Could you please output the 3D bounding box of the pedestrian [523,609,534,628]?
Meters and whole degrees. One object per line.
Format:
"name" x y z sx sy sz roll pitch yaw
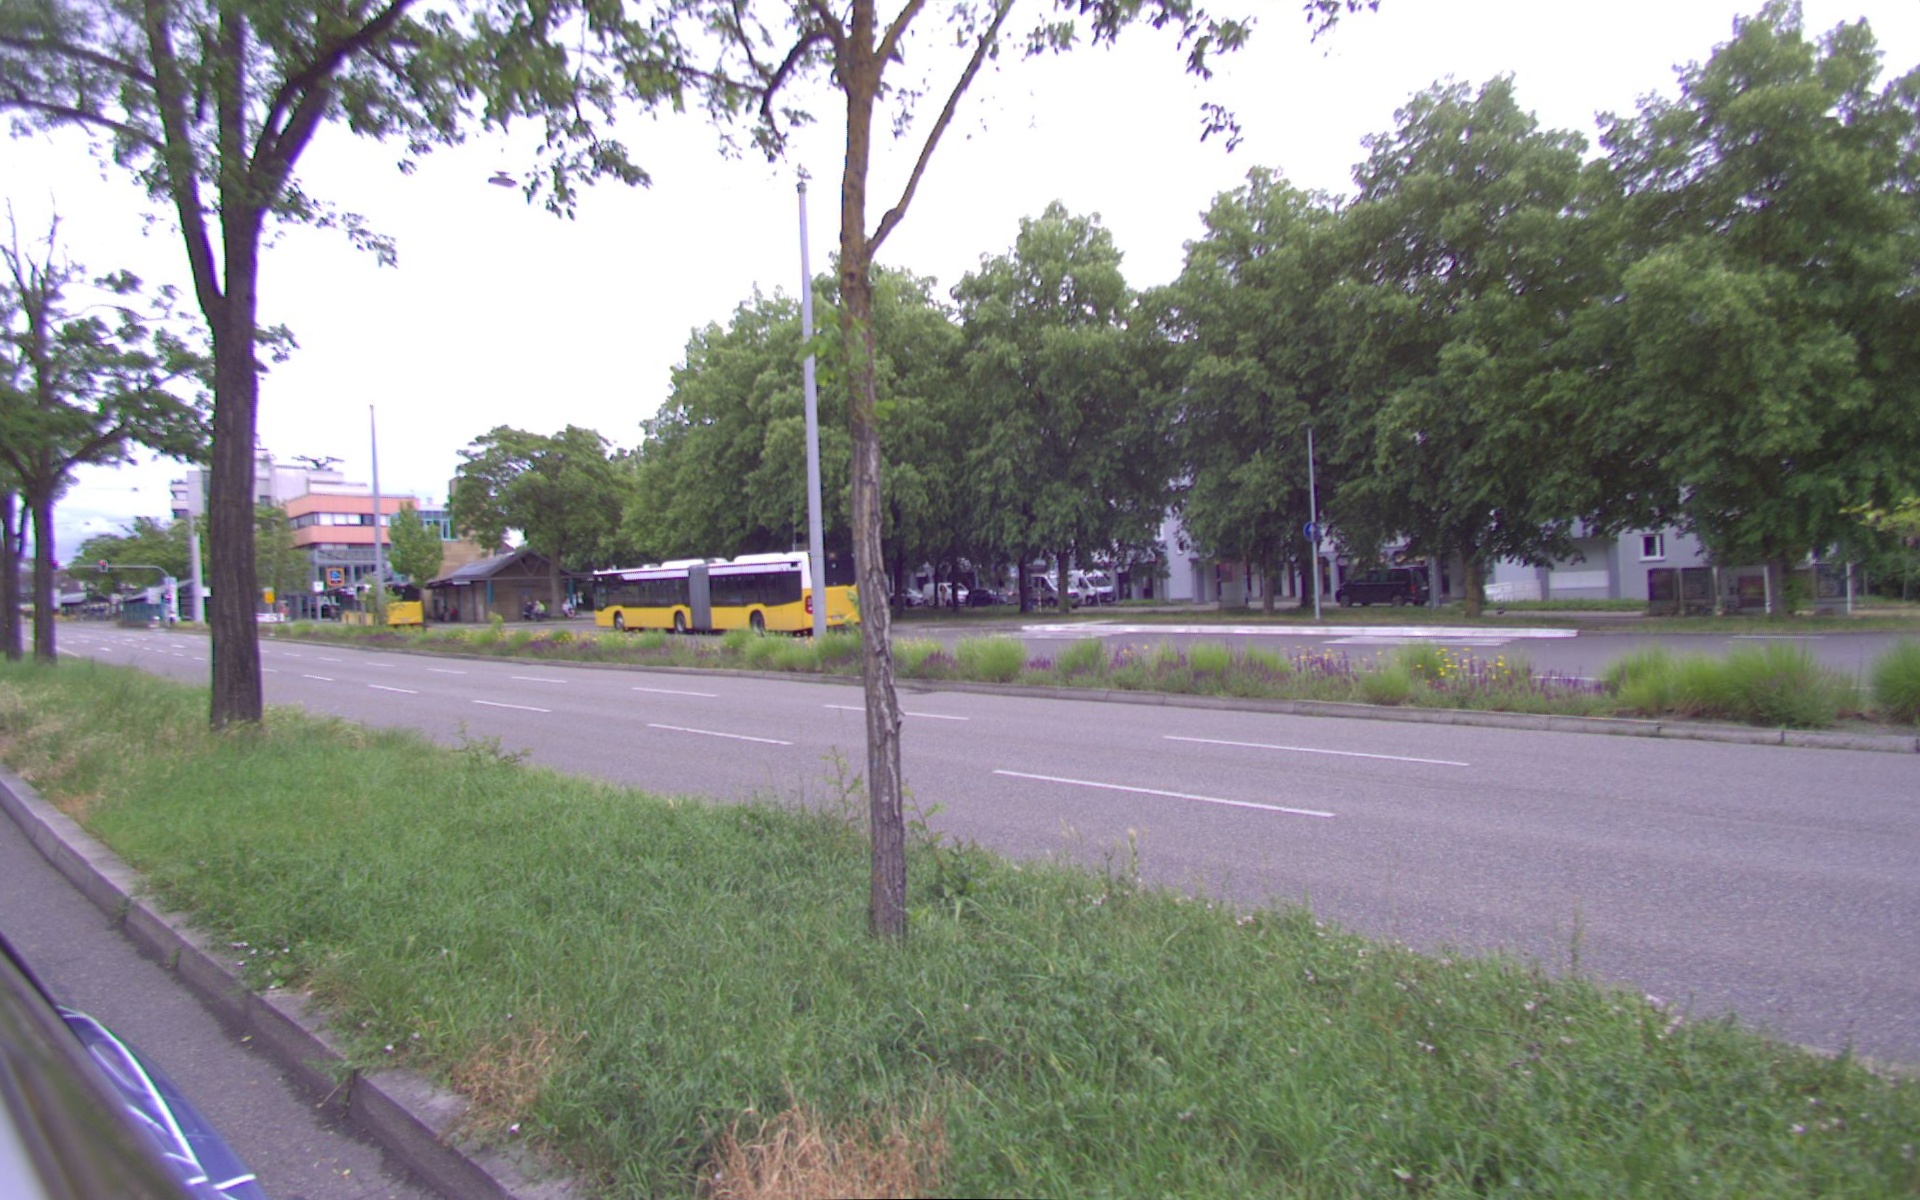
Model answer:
"pedestrian" -27.580 1.161 64.742 0.589 1.171 0.745 -1 0 -25

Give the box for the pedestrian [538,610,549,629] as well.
"pedestrian" -26.075 1.220 63.338 0.589 1.171 0.745 -1 0 -22

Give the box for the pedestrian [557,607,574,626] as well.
"pedestrian" -24.829 1.018 63.729 0.925 1.180 0.641 -1 0 42

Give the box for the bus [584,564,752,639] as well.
"bus" -13.332 0.126 45.401 2.848 3.025 10.404 -2 0 -43

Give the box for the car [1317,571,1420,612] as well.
"car" 19.902 -0.375 49.442 1.758 1.861 4.430 -2 0 -34

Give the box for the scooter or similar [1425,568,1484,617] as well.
"scooter or similar" 17.802 -0.263 36.430 1.840 1.676 0.647 -2 0 30

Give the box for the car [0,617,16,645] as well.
"car" -72.716 2.342 76.547 4.002 2.029 1.703 -2 0 45

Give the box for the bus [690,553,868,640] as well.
"bus" -7.094 -0.075 38.671 2.848 3.025 7.891 -2 0 -43

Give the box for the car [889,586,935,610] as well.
"car" -3.747 -0.135 78.577 1.663 1.763 4.010 -2 0 -34

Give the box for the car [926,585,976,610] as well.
"car" -0.688 -0.179 73.364 1.663 1.763 4.010 -2 0 -34

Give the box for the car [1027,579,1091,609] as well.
"car" 6.066 -0.347 62.365 1.663 1.763 4.010 -2 0 -34

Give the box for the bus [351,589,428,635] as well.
"bus" -38.504 0.818 68.091 2.846 2.830 9.190 -2 0 -40

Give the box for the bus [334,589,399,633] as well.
"bus" -44.099 0.849 75.038 2.845 3.025 9.193 -2 0 -38

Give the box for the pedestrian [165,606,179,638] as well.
"pedestrian" -70.689 1.957 90.782 0.889 2.809 1.150 -1 0 -35

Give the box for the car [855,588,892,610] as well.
"car" -7.164 -0.062 83.639 1.663 1.763 3.101 -2 0 -34

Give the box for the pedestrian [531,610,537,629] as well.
"pedestrian" -26.549 1.198 63.071 0.361 1.175 0.900 -1 0 -22

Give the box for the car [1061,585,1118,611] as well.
"car" 8.843 -0.146 69.208 1.751 1.652 4.012 -2 0 -30
